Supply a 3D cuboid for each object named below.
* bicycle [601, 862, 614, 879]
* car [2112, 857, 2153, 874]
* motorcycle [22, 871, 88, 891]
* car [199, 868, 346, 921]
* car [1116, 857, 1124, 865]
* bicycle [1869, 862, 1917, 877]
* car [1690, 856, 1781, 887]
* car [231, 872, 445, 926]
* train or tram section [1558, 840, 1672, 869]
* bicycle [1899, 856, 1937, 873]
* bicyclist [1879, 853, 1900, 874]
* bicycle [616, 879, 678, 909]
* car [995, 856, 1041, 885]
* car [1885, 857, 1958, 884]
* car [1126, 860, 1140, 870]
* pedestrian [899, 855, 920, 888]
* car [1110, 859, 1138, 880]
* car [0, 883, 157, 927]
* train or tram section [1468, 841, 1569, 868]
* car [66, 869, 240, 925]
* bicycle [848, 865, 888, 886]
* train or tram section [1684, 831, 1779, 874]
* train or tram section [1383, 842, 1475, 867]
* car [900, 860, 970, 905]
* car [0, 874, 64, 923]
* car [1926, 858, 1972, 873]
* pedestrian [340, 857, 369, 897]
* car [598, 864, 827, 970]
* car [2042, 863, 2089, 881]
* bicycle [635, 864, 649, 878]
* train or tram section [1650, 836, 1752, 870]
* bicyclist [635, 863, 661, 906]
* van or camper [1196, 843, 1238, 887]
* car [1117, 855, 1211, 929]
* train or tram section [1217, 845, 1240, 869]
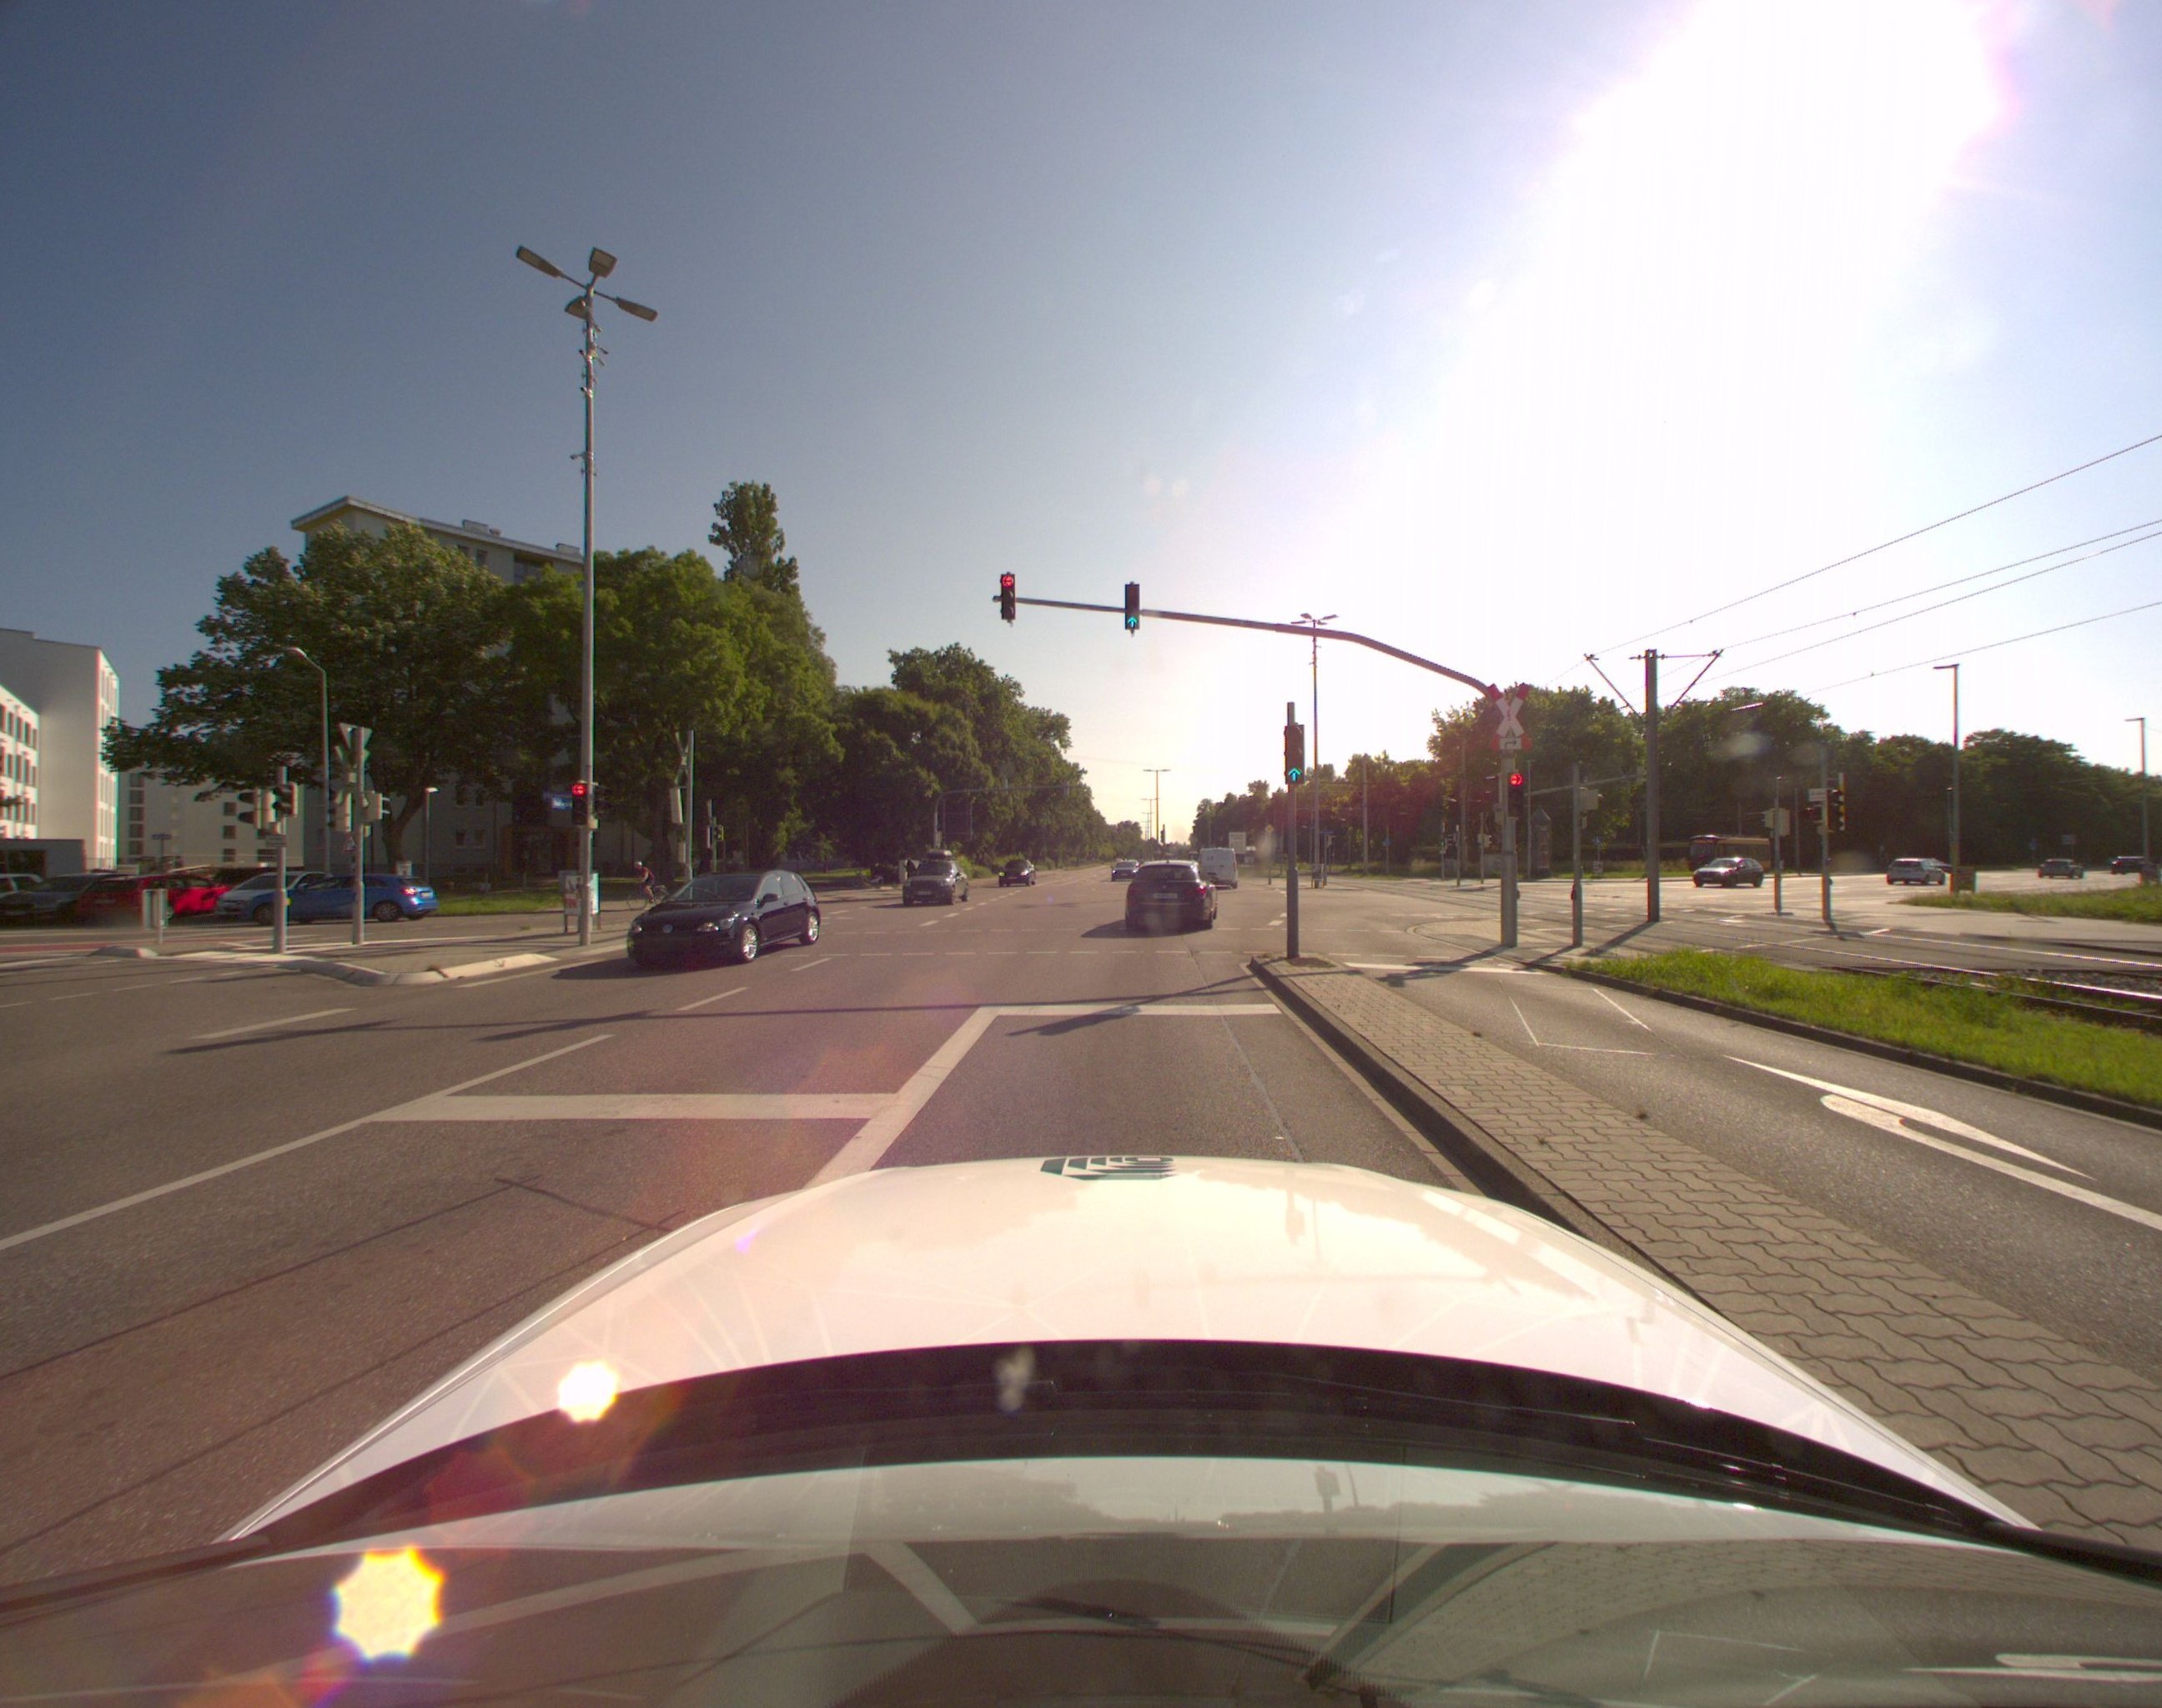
[{"bbox_3d":[-32.216,1.129,55.390,0.615,1.066,1.897,1,-3,-34],"label":"bicycle"},{"bbox_3d":[92.404,1.016,71.535,3.537,1.383,1.592,-1,0,-27],"label":"car"},{"bbox_3d":[-51.973,1.347,41.278,0.520,0.965,2.057,0,0,36],"label":"motorcycle"},{"bbox_3d":[-27.738,1.335,28.144,1.782,1.439,3.981,0,3,-15],"label":"car"},{"bbox_3d":[9.229,1.626,193.296,1.781,1.772,4.573,0,0,3],"label":"car"},{"bbox_3d":[79.336,1.499,79.611,1.131,1.454,3.208,1,-1,-20],"label":"bicycle"},{"bbox_3d":[36.224,0.957,45.069,4.870,1.563,2.027,-1,0,-26],"label":"car"},{"bbox_3d":[-21.596,1.269,23.884,4.242,1.414,1.774,0,0,-18],"label":"car"},{"bbox_3d":[68.434,0.072,104.793,3.064,3.579,12.110,0,-1,-31],"label":"train or tram section"},{"bbox_3d":[85.404,1.054,83.142,0.798,1.713,2.586,0,0,-33],"label":"bicycle"},{"bbox_3d":[79.267,0.916,79.831,1.140,2.014,1.091,1,-1,-20],"label":"bicyclist"},{"bbox_3d":[-16.157,1.475,30.386,0.614,1.040,2.083,0,0,24],"label":"bicycle"},{"bbox_3d":[-3.870,1.000,50.655,1.979,1.659,4.393,-1,0,7],"label":"car"},{"bbox_3d":[51.362,0.991,49.767,4.211,1.563,1.840,0,0,-26],"label":"car"},{"bbox_3d":[7.603,1.576,118.085,1.839,1.477,4.652,0,0,5],"label":"car"},{"bbox_3d":[-9.073,0.916,43.006,0.811,1.752,0.933,0,0,8],"label":"pedestrian"},{"bbox_3d":[3.117,1.073,57.979,1.821,1.431,4.737,-1,0,4],"label":"car"},{"bbox_3d":[-32.672,1.606,26.545,1.463,1.193,3.768,0,0,-14],"label":"car"},{"bbox_3d":[61.214,0.131,114.273,12.073,3.579,3.073,0,-1,39],"label":"train or tram section"},{"bbox_3d":[-30.700,1.358,27.142,1.781,1.415,3.983,0,3,-13],"label":"car"},{"bbox_3d":[-11.317,1.133,43.282,1.901,1.119,0.632,0,-1,2],"label":"bicycle"},{"bbox_3d":[58.510,-0.117,73.115,11.895,3.579,3.022,0,-1,-33],"label":"train or tram section"},{"bbox_3d":[51.689,0.165,121.288,12.279,3.579,3.073,0,-1,34],"label":"train or tram section"},{"bbox_3d":[-5.256,0.992,29.825,1.782,1.520,4.000,-1,0,1],"label":"car"},{"bbox_3d":[-35.317,1.429,25.845,1.783,1.521,3.978,0,0,-16],"label":"car"},{"bbox_3d":[81.669,1.062,76.581,4.314,1.335,1.735,0,0,-26],"label":"car"},{"bbox_3d":[-32.071,1.006,35.940,0.619,1.713,0.707,0,0,15],"label":"pedestrian"},{"bbox_3d":[-5.974,0.936,13.827,1.881,1.474,4.102,-1,0,2],"label":"car"},{"bbox_3d":[75.753,1.375,62.654,3.537,1.384,1.592,0,-1,-27],"label":"car"},{"bbox_3d":[-30.547,1.161,56.673,0.673,0.919,2.382,0,0,-32],"label":"bicycle"},{"bbox_3d":[70.618,-0.049,93.257,3.031,3.579,12.243,0,0,4],"label":"train or tram section"},{"bbox_3d":[-16.159,1.130,30.382,0.602,1.560,0.606,0,-1,24],"label":"bicyclist"},{"bbox_3d":[6.907,0.550,41.456,1.982,2.096,4.610,0,0,9],"label":"van or camper"},{"bbox_3d":[1.979,0.780,18.595,1.892,1.506,4.074,0,0,8],"label":"car"},{"bbox_3d":[23.543,0.588,130.390,2.782,3.618,12.978,1,-1,6],"label":"train or tram section"}]
